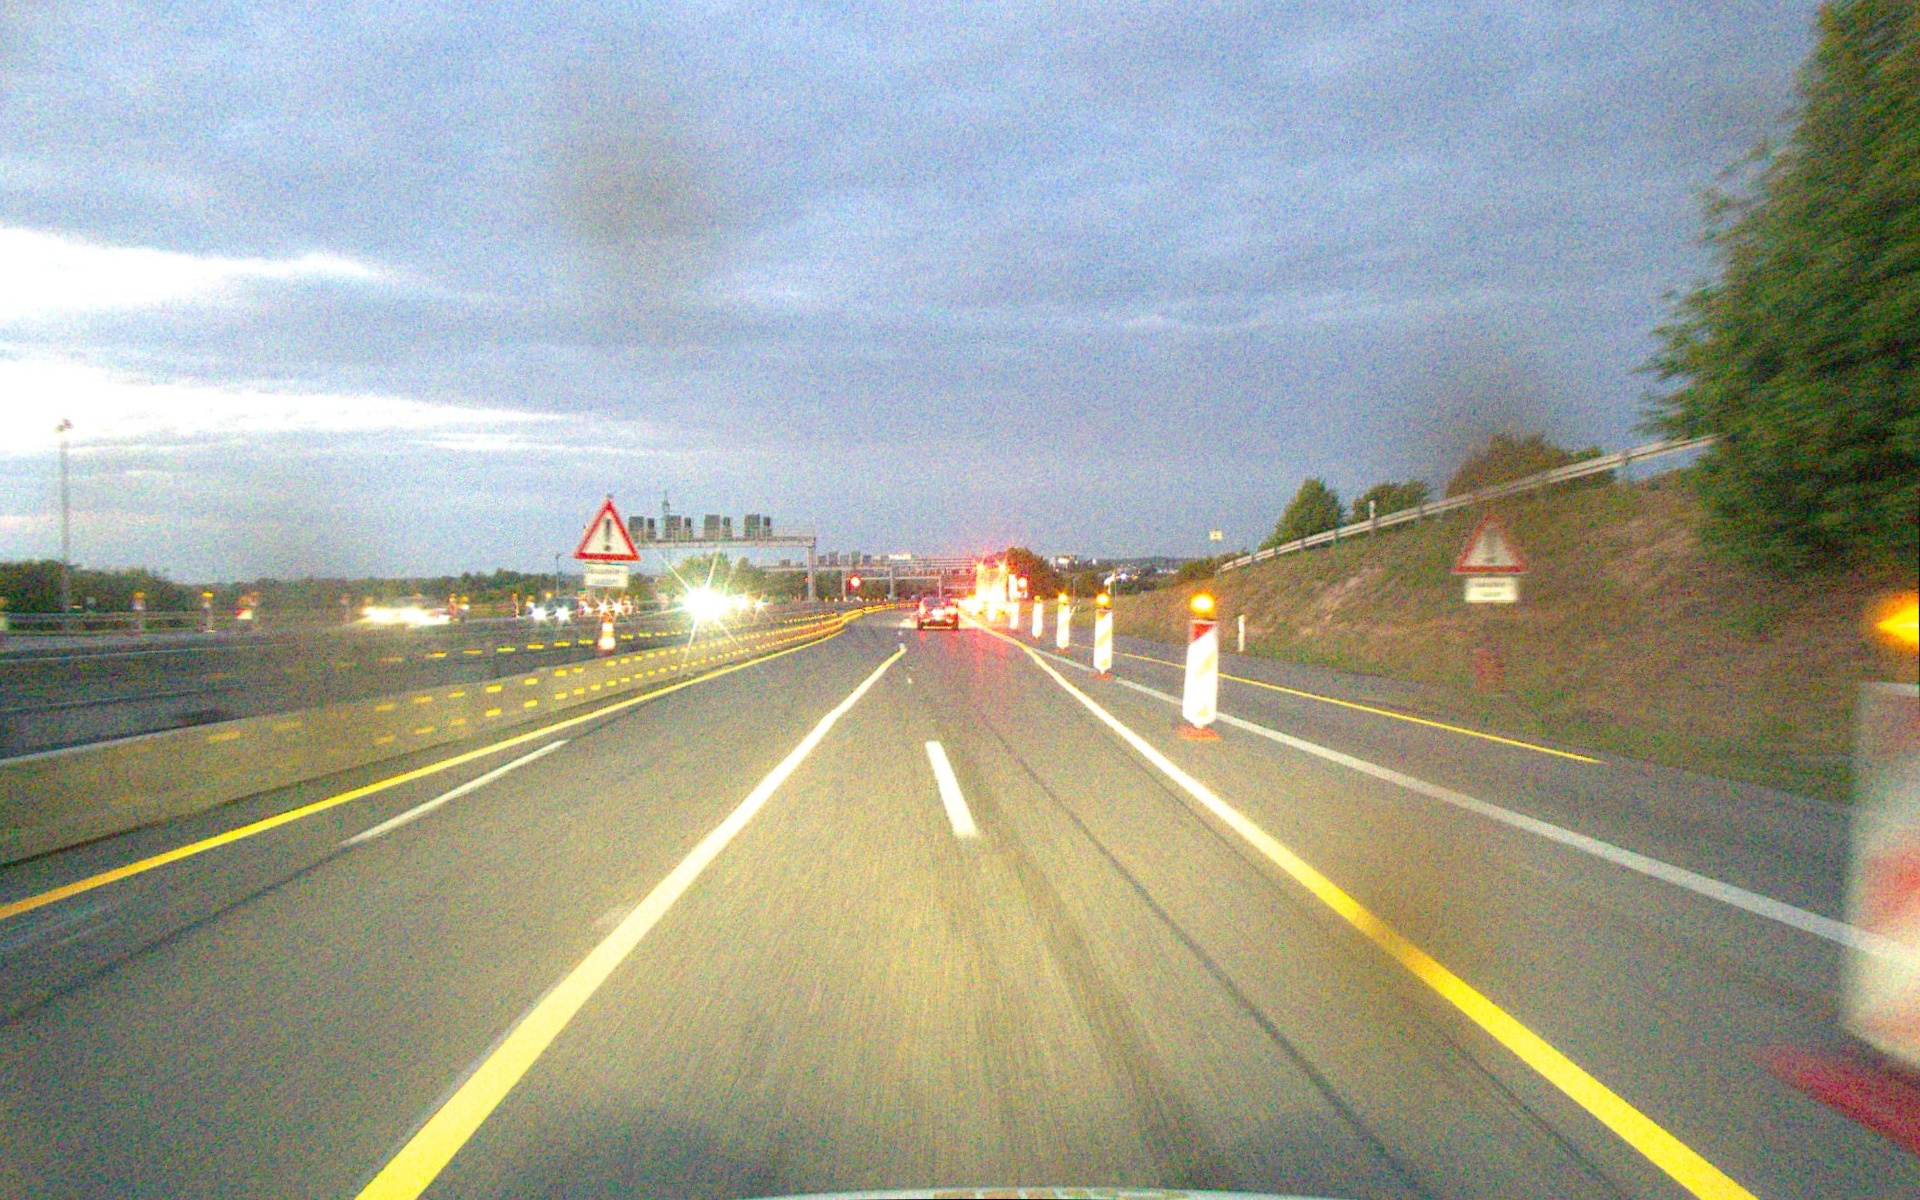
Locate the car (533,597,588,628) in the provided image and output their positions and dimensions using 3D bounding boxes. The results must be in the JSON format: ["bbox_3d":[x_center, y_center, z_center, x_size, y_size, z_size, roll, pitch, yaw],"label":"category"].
[{"bbox_3d":[-20.584,0.632,85.306,1.727,1.489,4.689,1,0,-1],"label":"car"}]

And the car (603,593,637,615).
[{"bbox_3d":[-26.182,0.311,127.563,1.727,1.575,4.423,1,0,-1],"label":"car"}]

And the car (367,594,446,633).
[{"bbox_3d":[-22.814,0.551,68.322,1.953,1.489,4.133,1,0,-1],"label":"car"}]

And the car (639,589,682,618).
[{"bbox_3d":[-18.602,0.208,102.877,1.953,1.744,3.999,1,0,-1],"label":"car"}]

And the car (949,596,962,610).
[{"bbox_3d":[-0.693,0.519,251.637,1.953,2.049,3.999,1,0,-1],"label":"car"}]

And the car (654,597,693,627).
[{"bbox_3d":[-18.958,0.774,109.611,1.953,1.860,3.999,1,0,-1],"label":"car"}]

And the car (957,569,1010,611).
[{"bbox_3d":[2.019,-0.868,146.683,3.537,3.455,8.000,1,0,-8],"label":"car"}]

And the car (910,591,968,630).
[{"bbox_3d":[-0.955,0.458,73.266,2.221,1.649,3.995,1,0,-6],"label":"car"}]

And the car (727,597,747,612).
[{"bbox_3d":[-22.426,0.447,166.444,1.543,1.455,4.424,1,0,-1],"label":"car"}]
